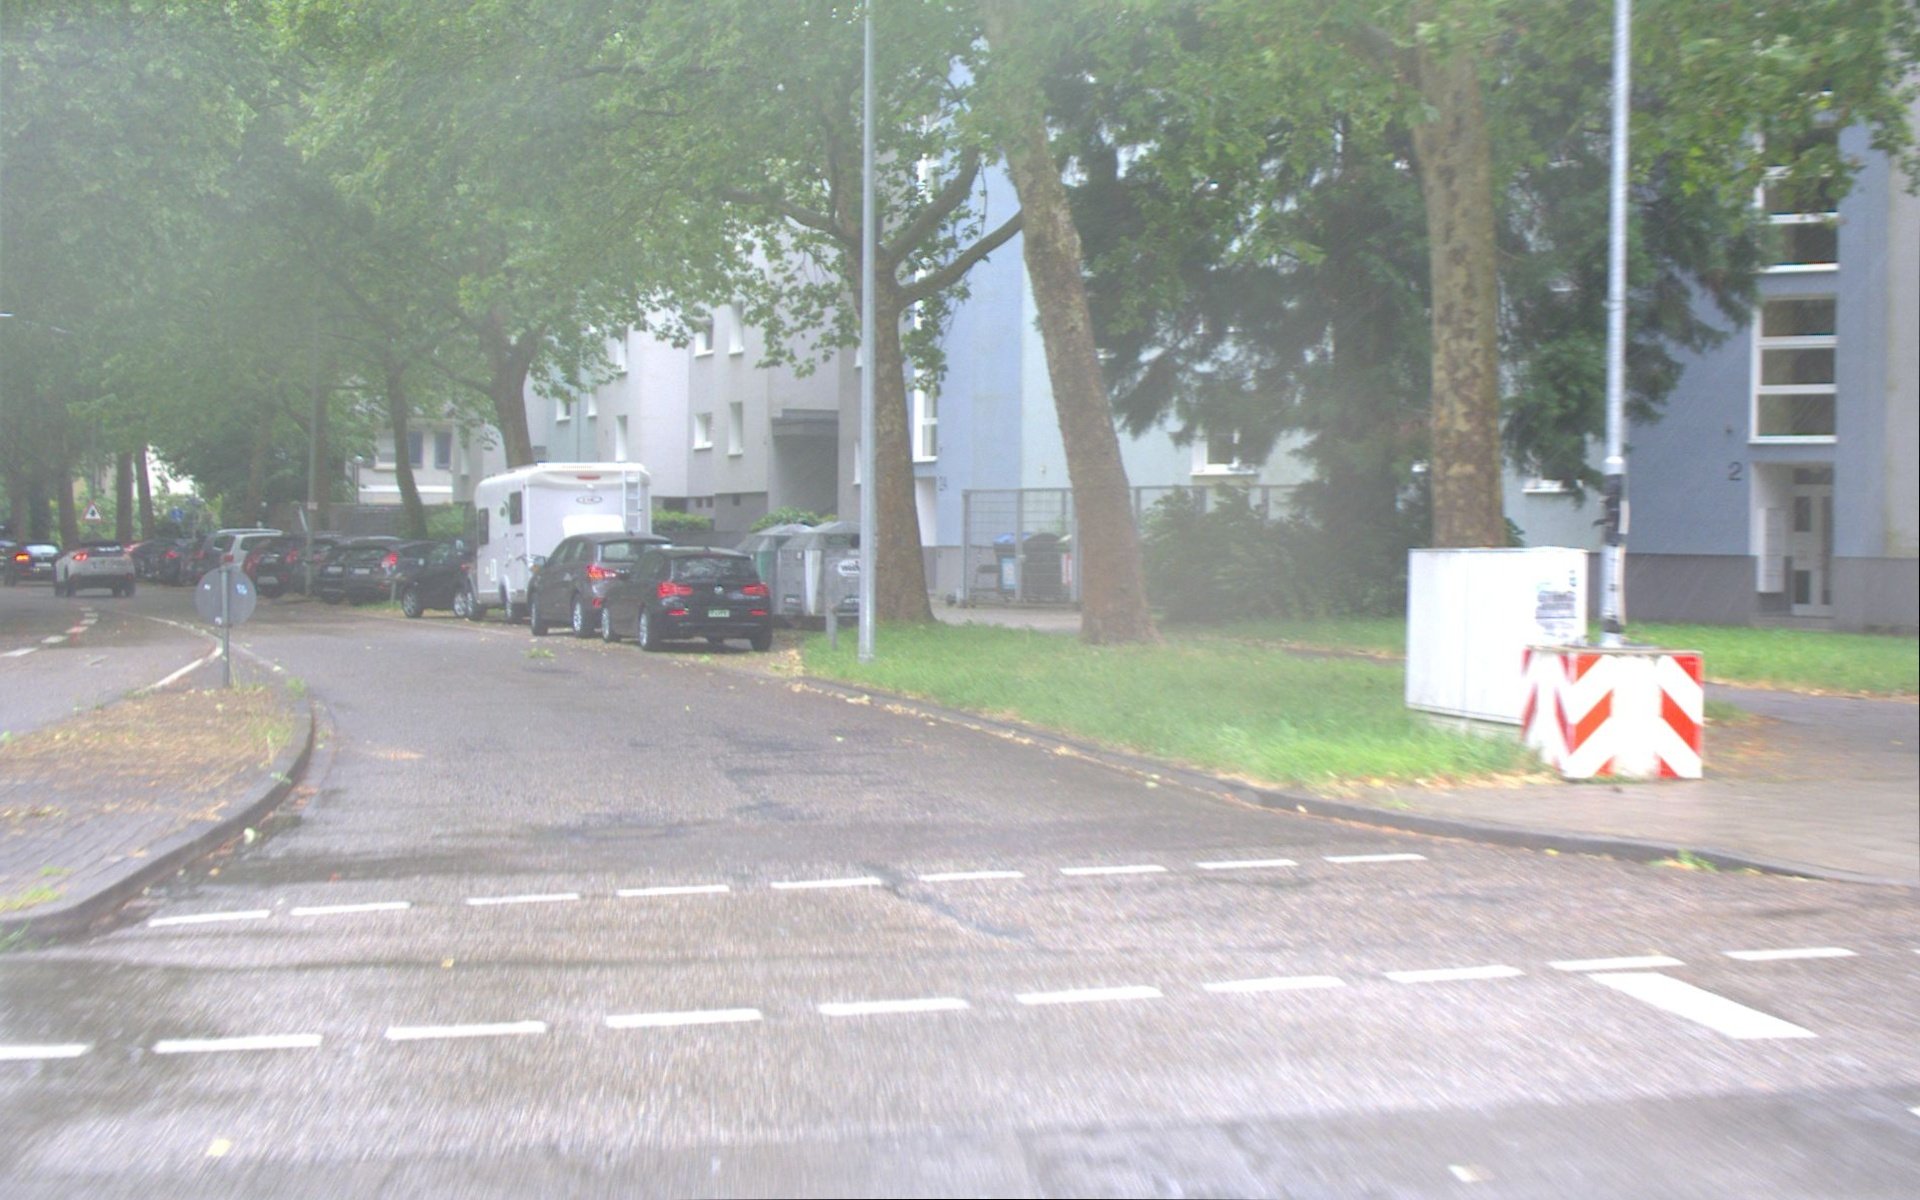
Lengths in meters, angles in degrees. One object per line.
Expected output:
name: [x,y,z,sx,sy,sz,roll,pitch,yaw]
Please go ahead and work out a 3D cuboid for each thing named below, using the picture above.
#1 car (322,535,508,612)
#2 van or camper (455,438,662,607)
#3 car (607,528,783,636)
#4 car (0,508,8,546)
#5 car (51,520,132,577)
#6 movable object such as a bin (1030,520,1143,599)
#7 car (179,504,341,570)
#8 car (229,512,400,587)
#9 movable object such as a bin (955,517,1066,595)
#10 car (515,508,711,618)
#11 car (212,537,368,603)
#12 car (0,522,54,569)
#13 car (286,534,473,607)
car: [-11.981,-0.580,75.728,1.801,1.596,3.760,3,2,40]
van or camper: [-7.216,-1.377,61.009,2.318,2.797,6.866,1,1,-18]
car: [-3.766,-0.278,48.228,1.548,1.385,4.151,1,1,-17]
car: [-36.843,-2.733,129.242,1.705,1.406,3.646,-2,2,-20]
car: [-23.216,-1.387,91.805,1.705,1.406,3.646,-2,2,-20]
movable object such as a bin: [2.393,-0.772,65.132,1.213,1.427,1.862,1,2,-37]
car: [-20.090,-1.814,98.657,4.336,1.756,1.819,1,1,-19]
car: [-16.081,-1.284,85.762,1.836,1.691,3.858,3,5,43]
movable object such as a bin: [0.966,-0.855,66.446,1.213,1.427,1.862,1,2,-37]
car: [-5.446,-0.560,53.461,1.915,1.615,4.455,1,0,-21]
car: [-18.585,-0.840,95.347,3.986,1.721,1.802,1,1,-19]
car: [-30.619,-1.796,112.200,1.705,1.406,3.646,-2,2,-20]
car: [-13.360,-0.682,79.279,1.801,1.596,3.990,3,2,40]
